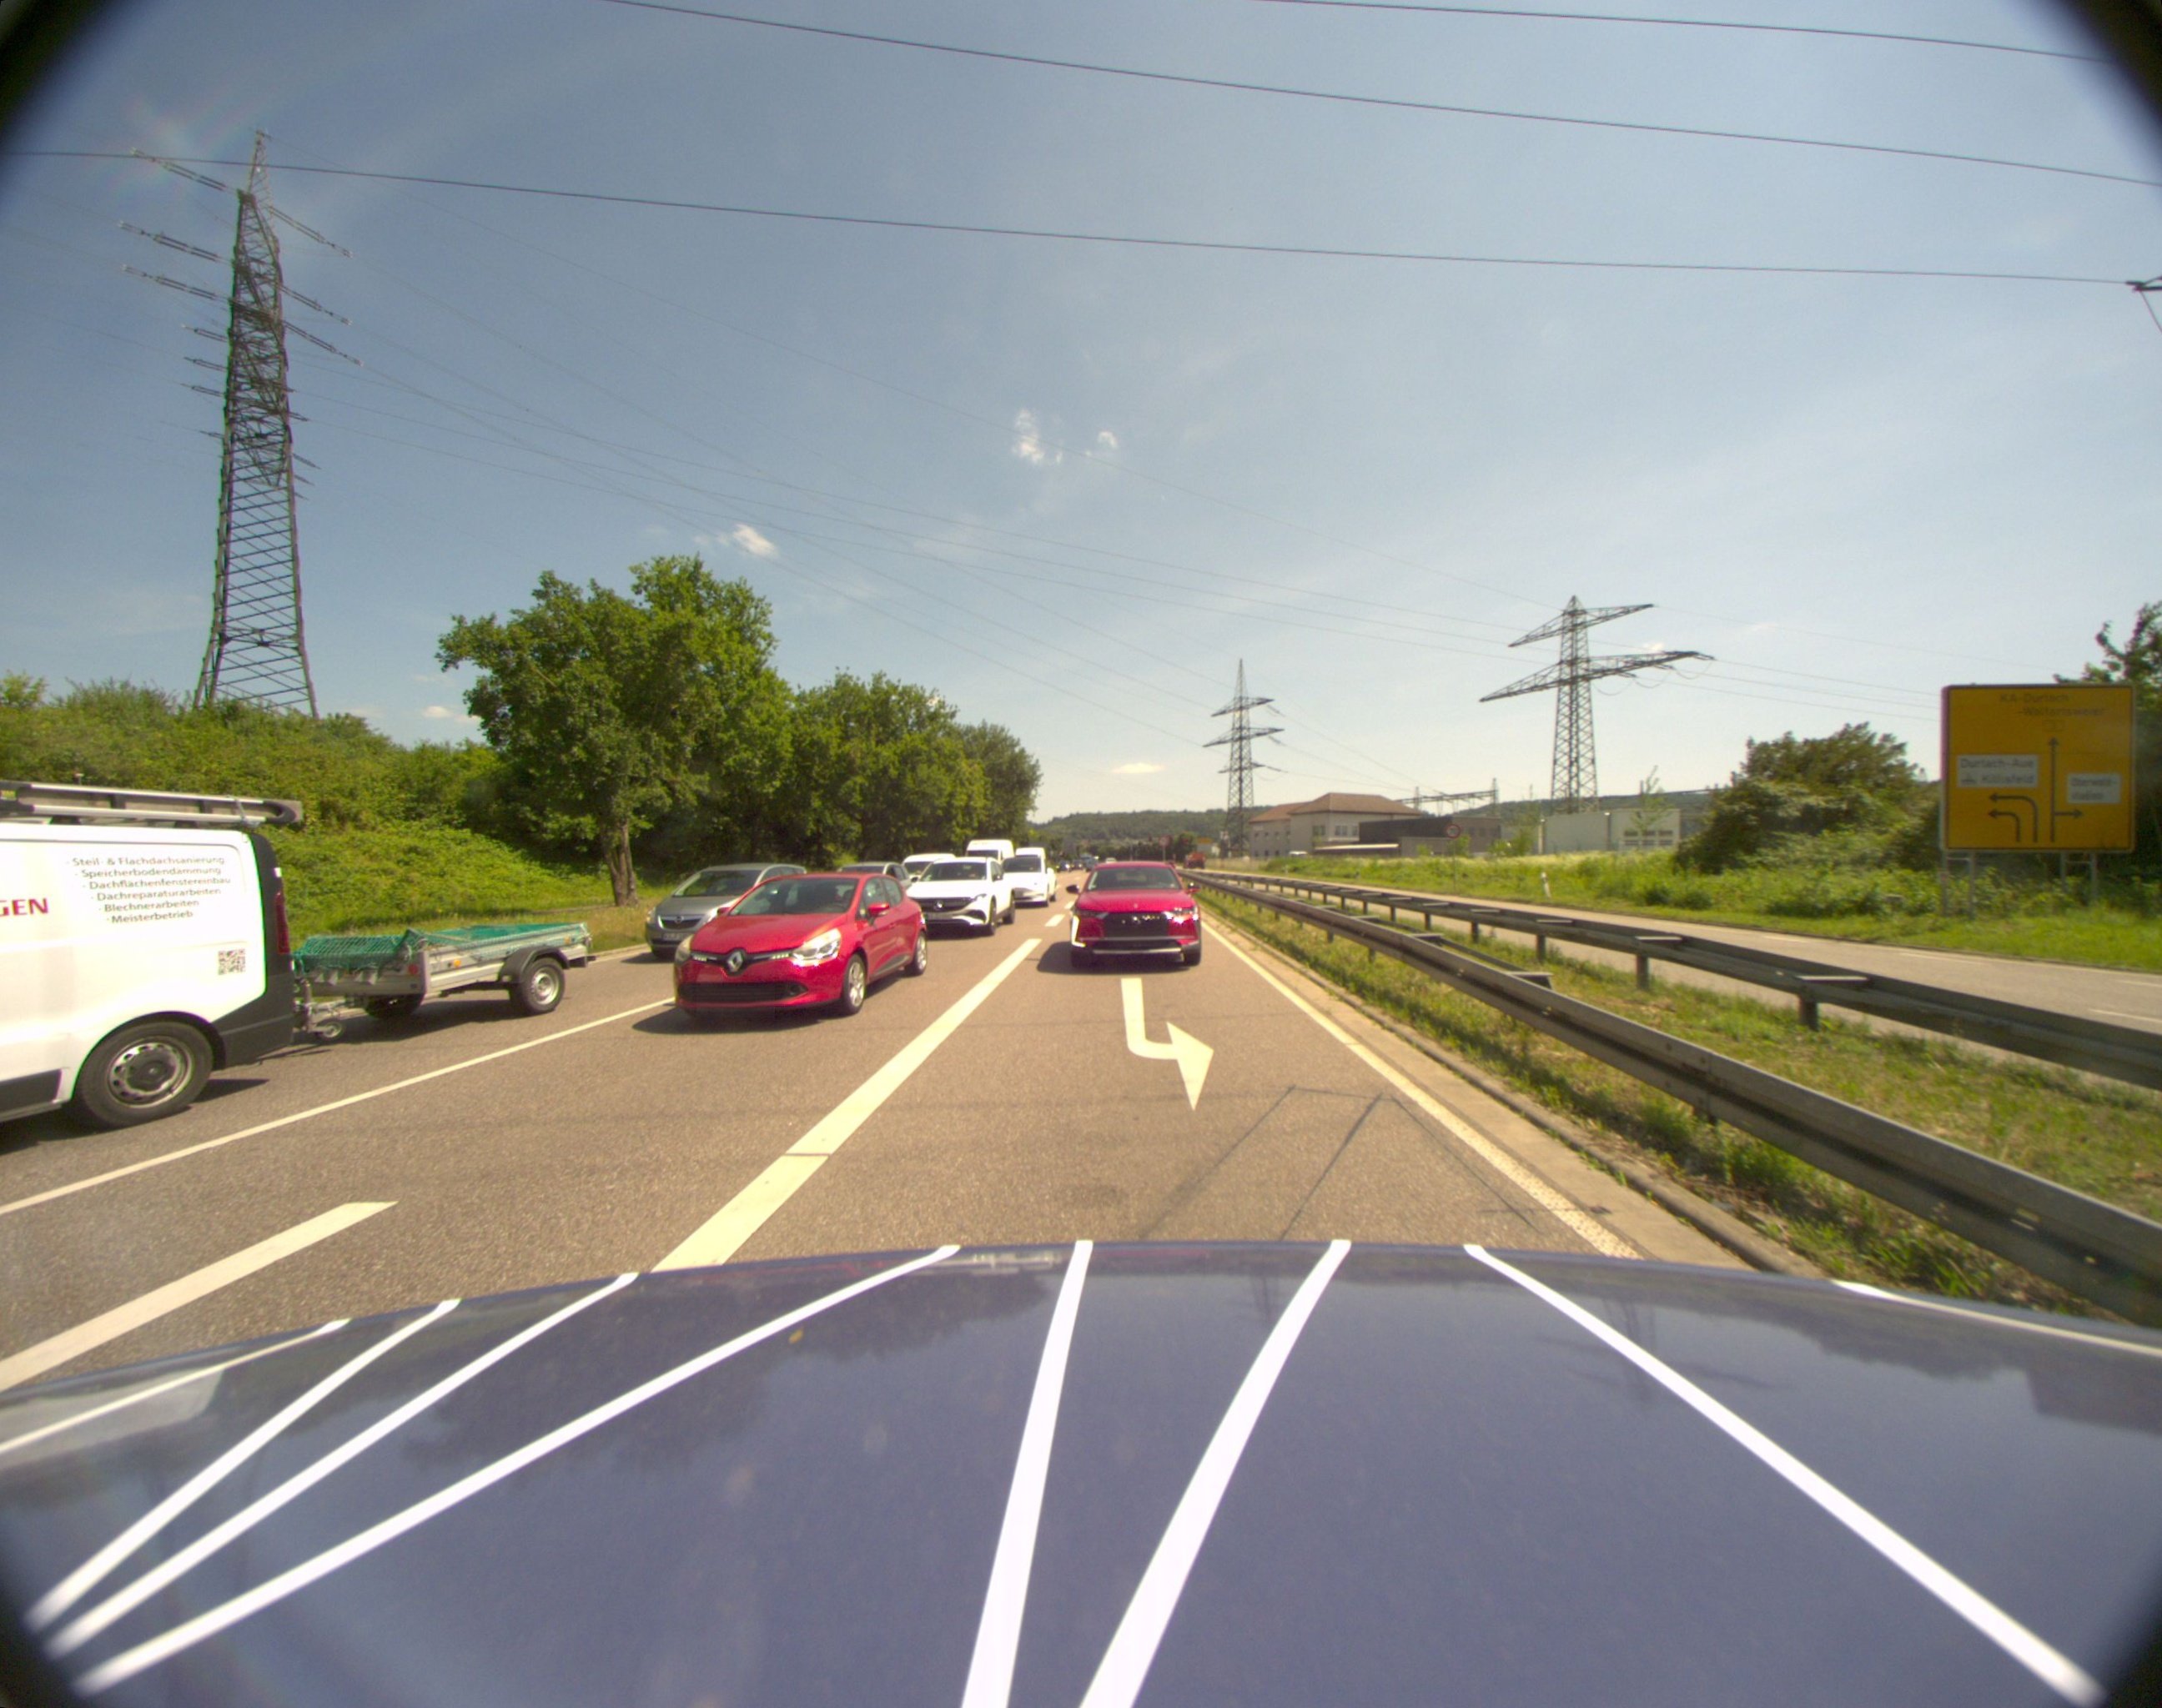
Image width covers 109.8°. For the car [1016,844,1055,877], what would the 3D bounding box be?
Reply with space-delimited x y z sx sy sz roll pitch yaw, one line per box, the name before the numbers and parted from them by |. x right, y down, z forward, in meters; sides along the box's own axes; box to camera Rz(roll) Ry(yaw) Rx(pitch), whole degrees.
car | -3.522 0.498 60.317 2.308 2.408 5.815 -2 0 4

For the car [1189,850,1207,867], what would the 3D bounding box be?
car | 21.198 0.740 137.663 2.606 3.043 5.640 0 0 3

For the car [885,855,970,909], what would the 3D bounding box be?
car | -5.531 0.940 28.054 1.809 1.790 5.039 -2 0 3

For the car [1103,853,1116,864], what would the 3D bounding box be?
car | 4.628 0.762 122.737 1.998 1.752 4.001 0 0 5

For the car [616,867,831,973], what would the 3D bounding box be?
car | -6.320 1.080 14.038 1.769 1.586 4.166 -1 0 4

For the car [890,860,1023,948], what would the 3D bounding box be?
car | -2.486 0.954 16.342 1.850 1.559 4.364 -2 0 4

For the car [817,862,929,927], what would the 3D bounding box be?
car | -5.765 1.057 21.645 1.747 1.585 4.273 -2 0 4

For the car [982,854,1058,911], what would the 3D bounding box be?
car | -1.919 0.859 25.119 2.022 1.671 4.000 -2 0 2

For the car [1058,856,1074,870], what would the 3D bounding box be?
car | -1.974 1.159 100.769 1.878 1.674 4.000 -2 1 1

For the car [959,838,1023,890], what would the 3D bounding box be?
car | -4.793 0.506 41.680 2.232 2.592 7.020 -2 0 3

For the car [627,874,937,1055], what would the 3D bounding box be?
car | -3.014 1.029 8.696 1.747 1.453 4.066 -2 0 3

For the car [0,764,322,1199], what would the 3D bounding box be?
car | -6.845 0.710 3.211 1.937 2.335 5.076 -2 0 3

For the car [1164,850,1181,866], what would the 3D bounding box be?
car | 17.051 0.748 141.750 2.606 3.043 5.640 0 0 3

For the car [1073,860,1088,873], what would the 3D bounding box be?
car | -0.054 1.924 118.959 1.998 1.807 4.000 -2 1 4

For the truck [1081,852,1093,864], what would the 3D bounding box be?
truck | 1.227 0.789 152.825 2.170 2.428 4.910 -2 1 1

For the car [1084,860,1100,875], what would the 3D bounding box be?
car | 1.401 1.703 94.746 1.878 1.674 4.000 -2 1 1

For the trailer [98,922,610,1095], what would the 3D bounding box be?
trailer | -6.582 1.333 7.446 1.709 1.000 3.324 -1 0 3

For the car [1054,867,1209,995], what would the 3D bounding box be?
car | 0.753 0.981 11.500 1.846 1.453 4.415 -2 0 4
